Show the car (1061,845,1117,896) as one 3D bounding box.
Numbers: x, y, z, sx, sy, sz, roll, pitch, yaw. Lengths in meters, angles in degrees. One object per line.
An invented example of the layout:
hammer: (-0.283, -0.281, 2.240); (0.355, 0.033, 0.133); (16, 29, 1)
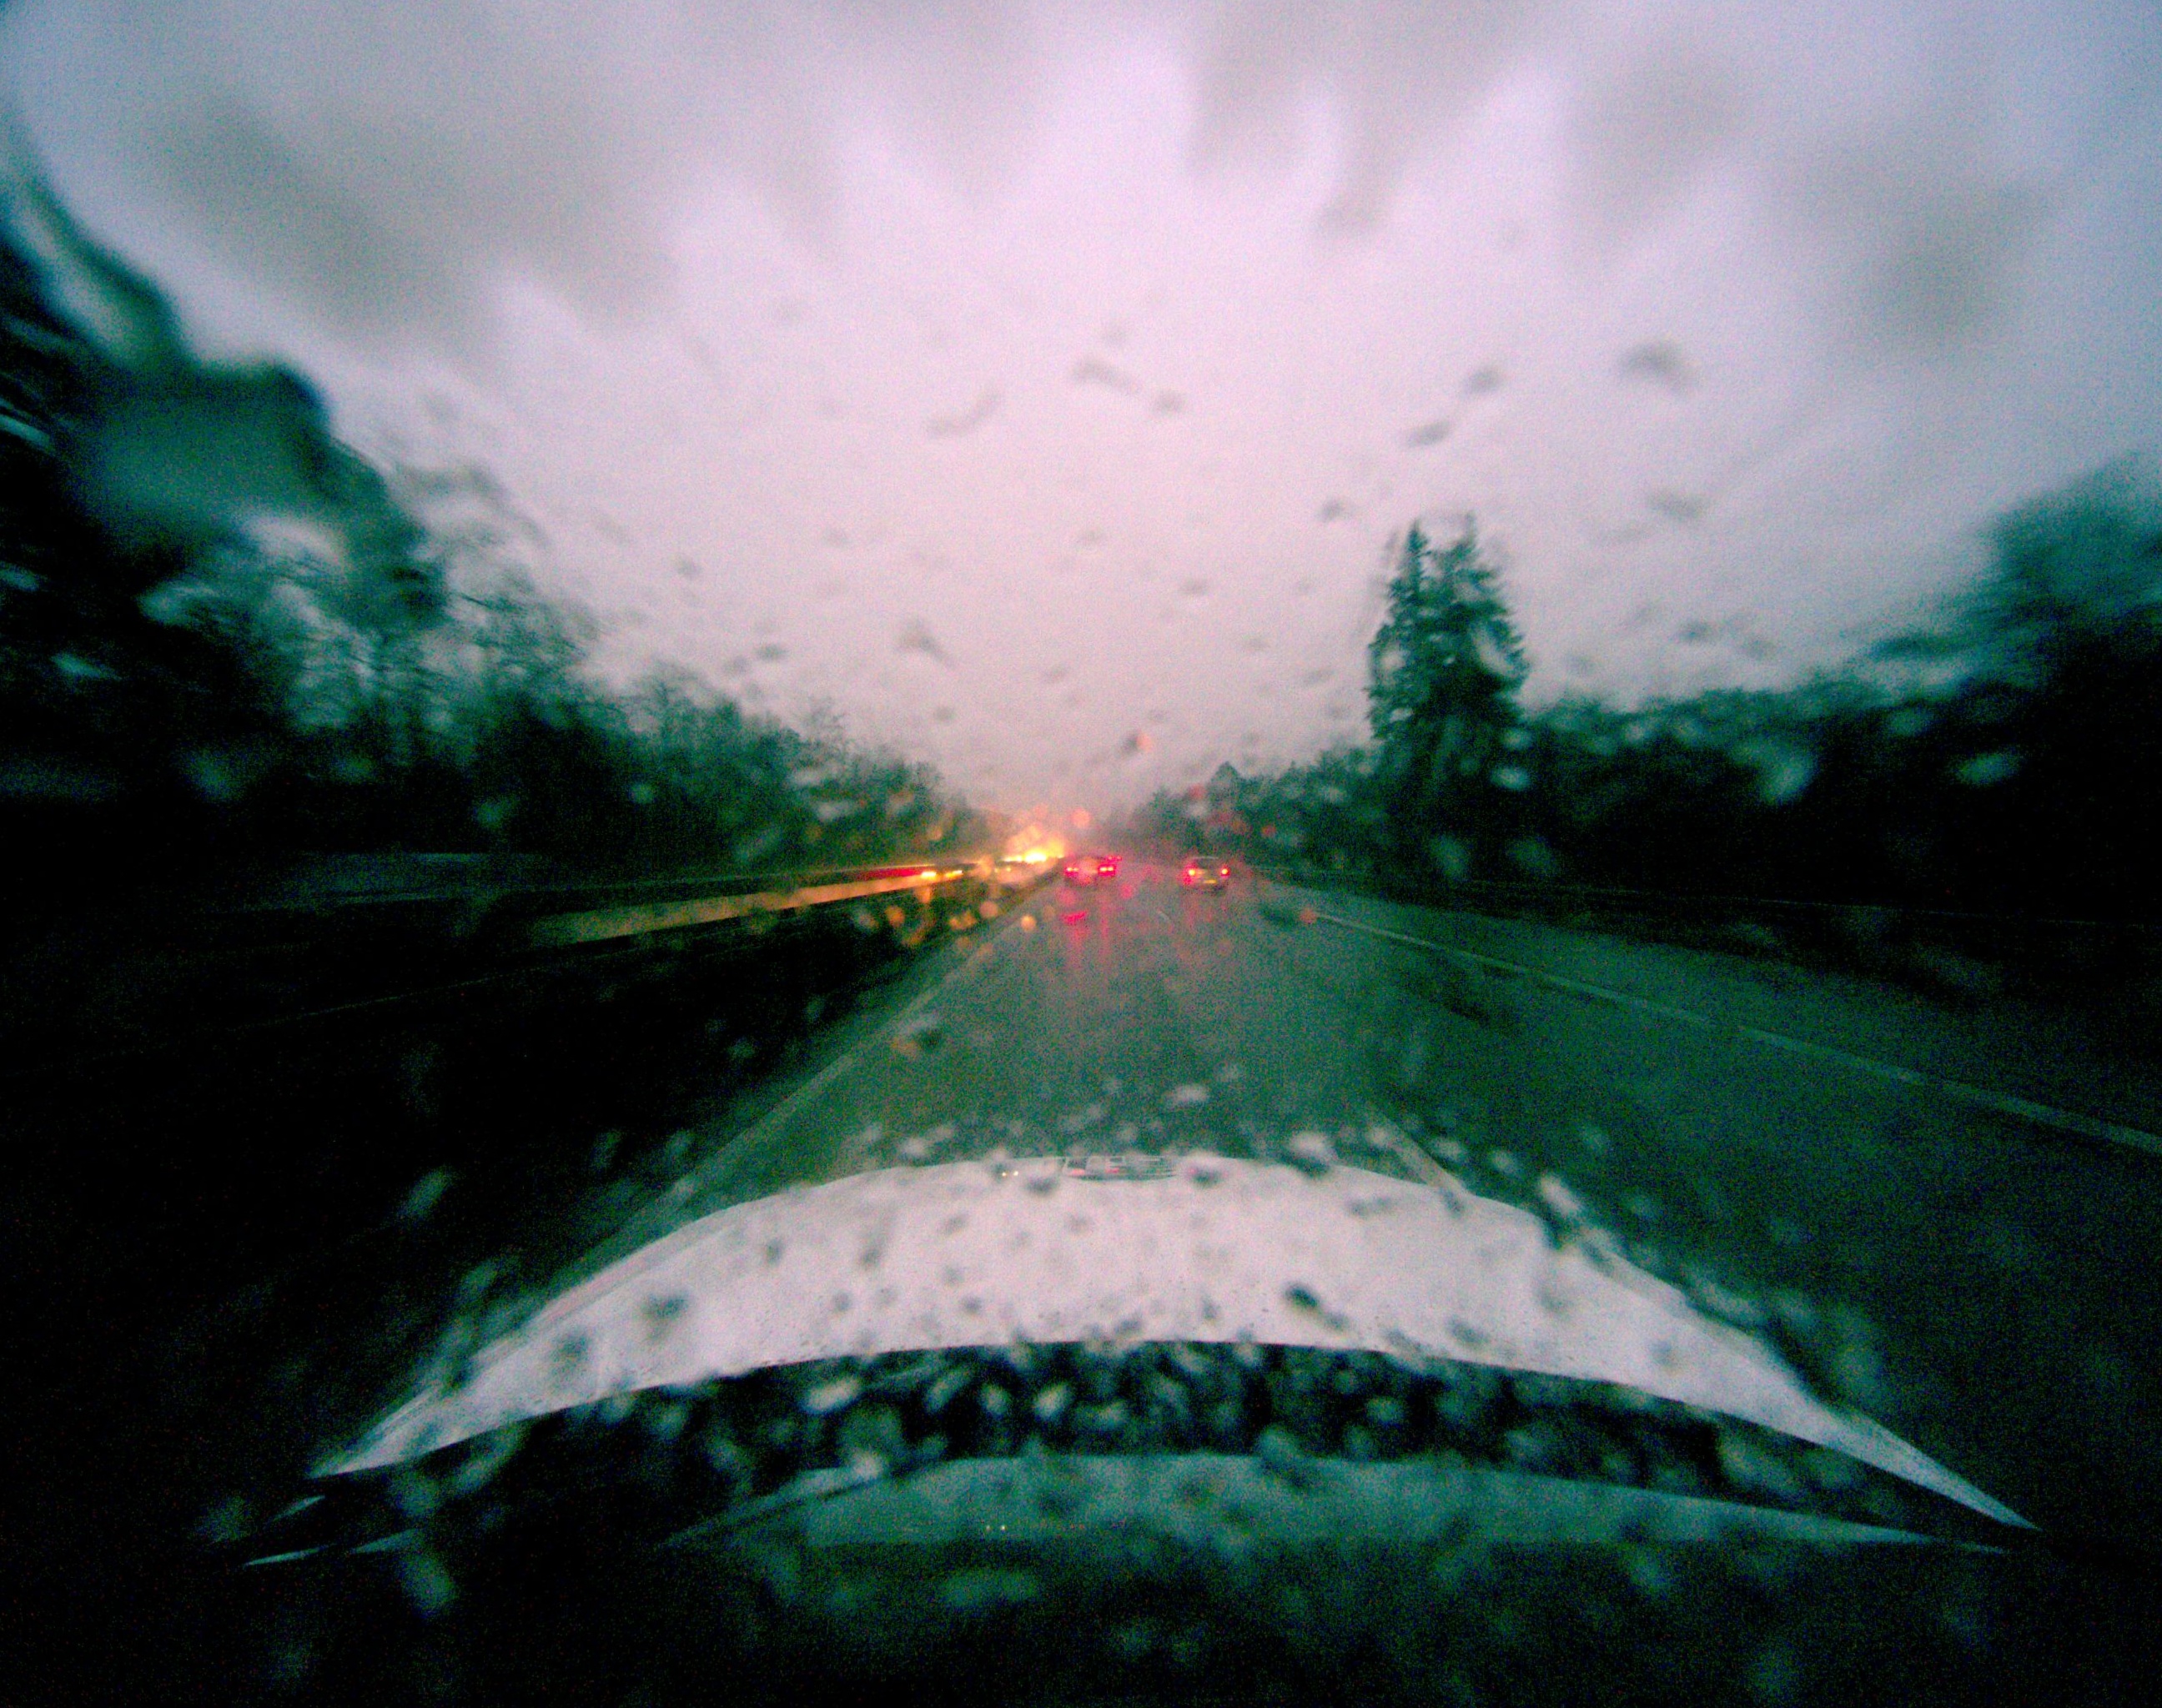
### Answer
car: (0.299, 0.588, 30.875); (1.980, 1.767, 4.173); (-1, 0, 0)

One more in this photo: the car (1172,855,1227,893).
car: (4.745, 0.756, 33.000); (1.774, 1.437, 3.537); (-1, 0, 1)

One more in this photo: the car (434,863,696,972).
car: (-8.452, 0.932, 13.875); (1.671, 1.494, 4.258); (-1, 0, 1)
